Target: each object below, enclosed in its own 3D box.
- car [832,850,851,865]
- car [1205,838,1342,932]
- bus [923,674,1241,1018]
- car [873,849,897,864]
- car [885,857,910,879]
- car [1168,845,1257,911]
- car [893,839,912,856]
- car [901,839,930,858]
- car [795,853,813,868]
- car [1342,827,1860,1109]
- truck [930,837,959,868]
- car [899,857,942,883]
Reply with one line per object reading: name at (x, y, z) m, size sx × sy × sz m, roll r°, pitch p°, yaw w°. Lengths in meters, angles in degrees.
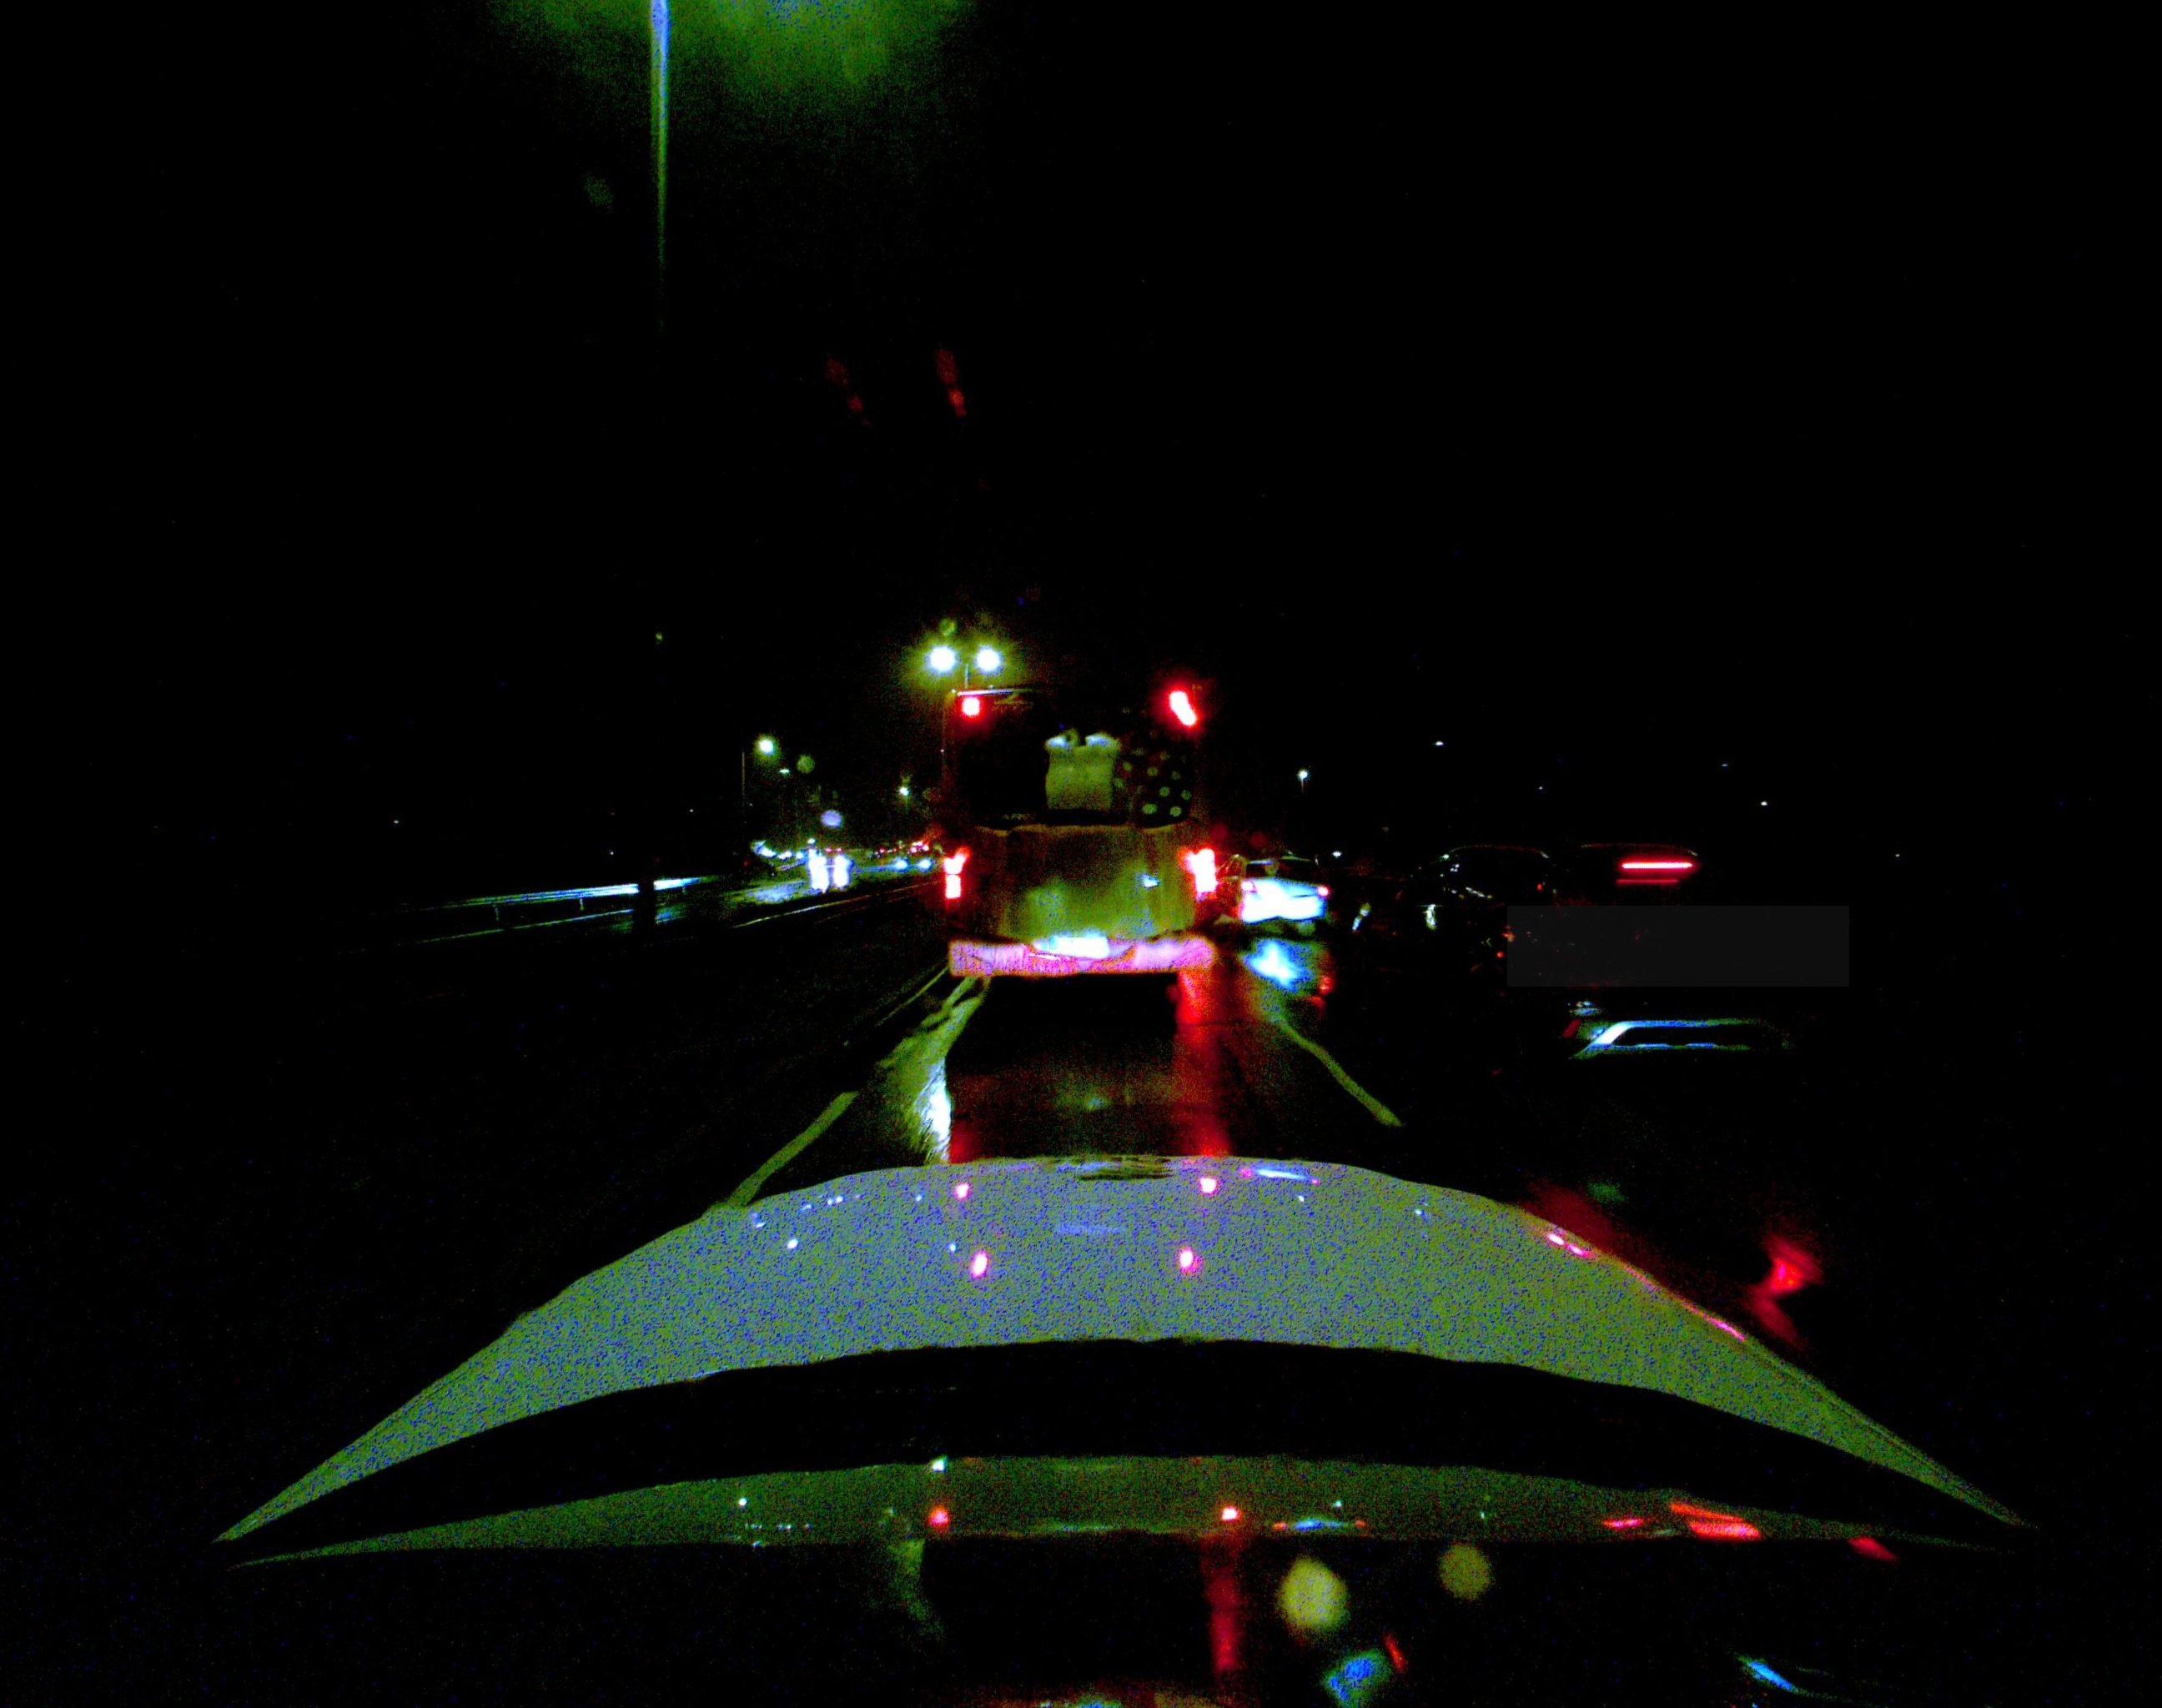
car at (-32.684, 0.450, 111.009) m, size 2.218 × 2.013 × 3.974 m, roll -1°, pitch 0°, yaw -19°
car at (3.626, 0.536, 15.980) m, size 1.813 × 1.590 × 3.777 m, roll -1°, pitch 0°, yaw 0°
bus at (0.159, -0.075, 11.557) m, size 2.804 × 3.024 × 8.691 m, roll 0°, pitch 0°, yaw 2°
car at (-22.277, 0.327, 92.495) m, size 1.762 × 1.631 × 3.588 m, roll 1°, pitch -1°, yaw -31°
car at (-17.531, 1.294, 77.742) m, size 1.999 × 2.014 × 3.975 m, roll 0°, pitch 0°, yaw -18°
car at (3.428, 0.590, 21.882) m, size 1.813 × 1.590 × 3.777 m, roll -1°, pitch 0°, yaw 0°
car at (-22.529, -0.801, 102.801) m, size 2.121 × 2.014 × 3.987 m, roll 1°, pitch -1°, yaw -9°
car at (-17.598, -0.567, 86.556) m, size 2.005 × 2.014 × 3.964 m, roll 1°, pitch -1°, yaw -28°
car at (-31.845, 0.694, 93.589) m, size 1.793 × 1.646 × 3.971 m, roll -1°, pitch 0°, yaw -21°
car at (3.532, 0.642, 6.467) m, size 1.733 × 1.565 × 3.777 m, roll 1°, pitch 0°, yaw 0°
truck at (-11.806, -0.174, 70.069) m, size 1.860 × 2.392 × 4.754 m, roll -2°, pitch 3°, yaw -16°
car at (-9.569, 0.930, 48.736) m, size 1.989 × 1.486 × 3.995 m, roll -1°, pitch 0°, yaw -3°
